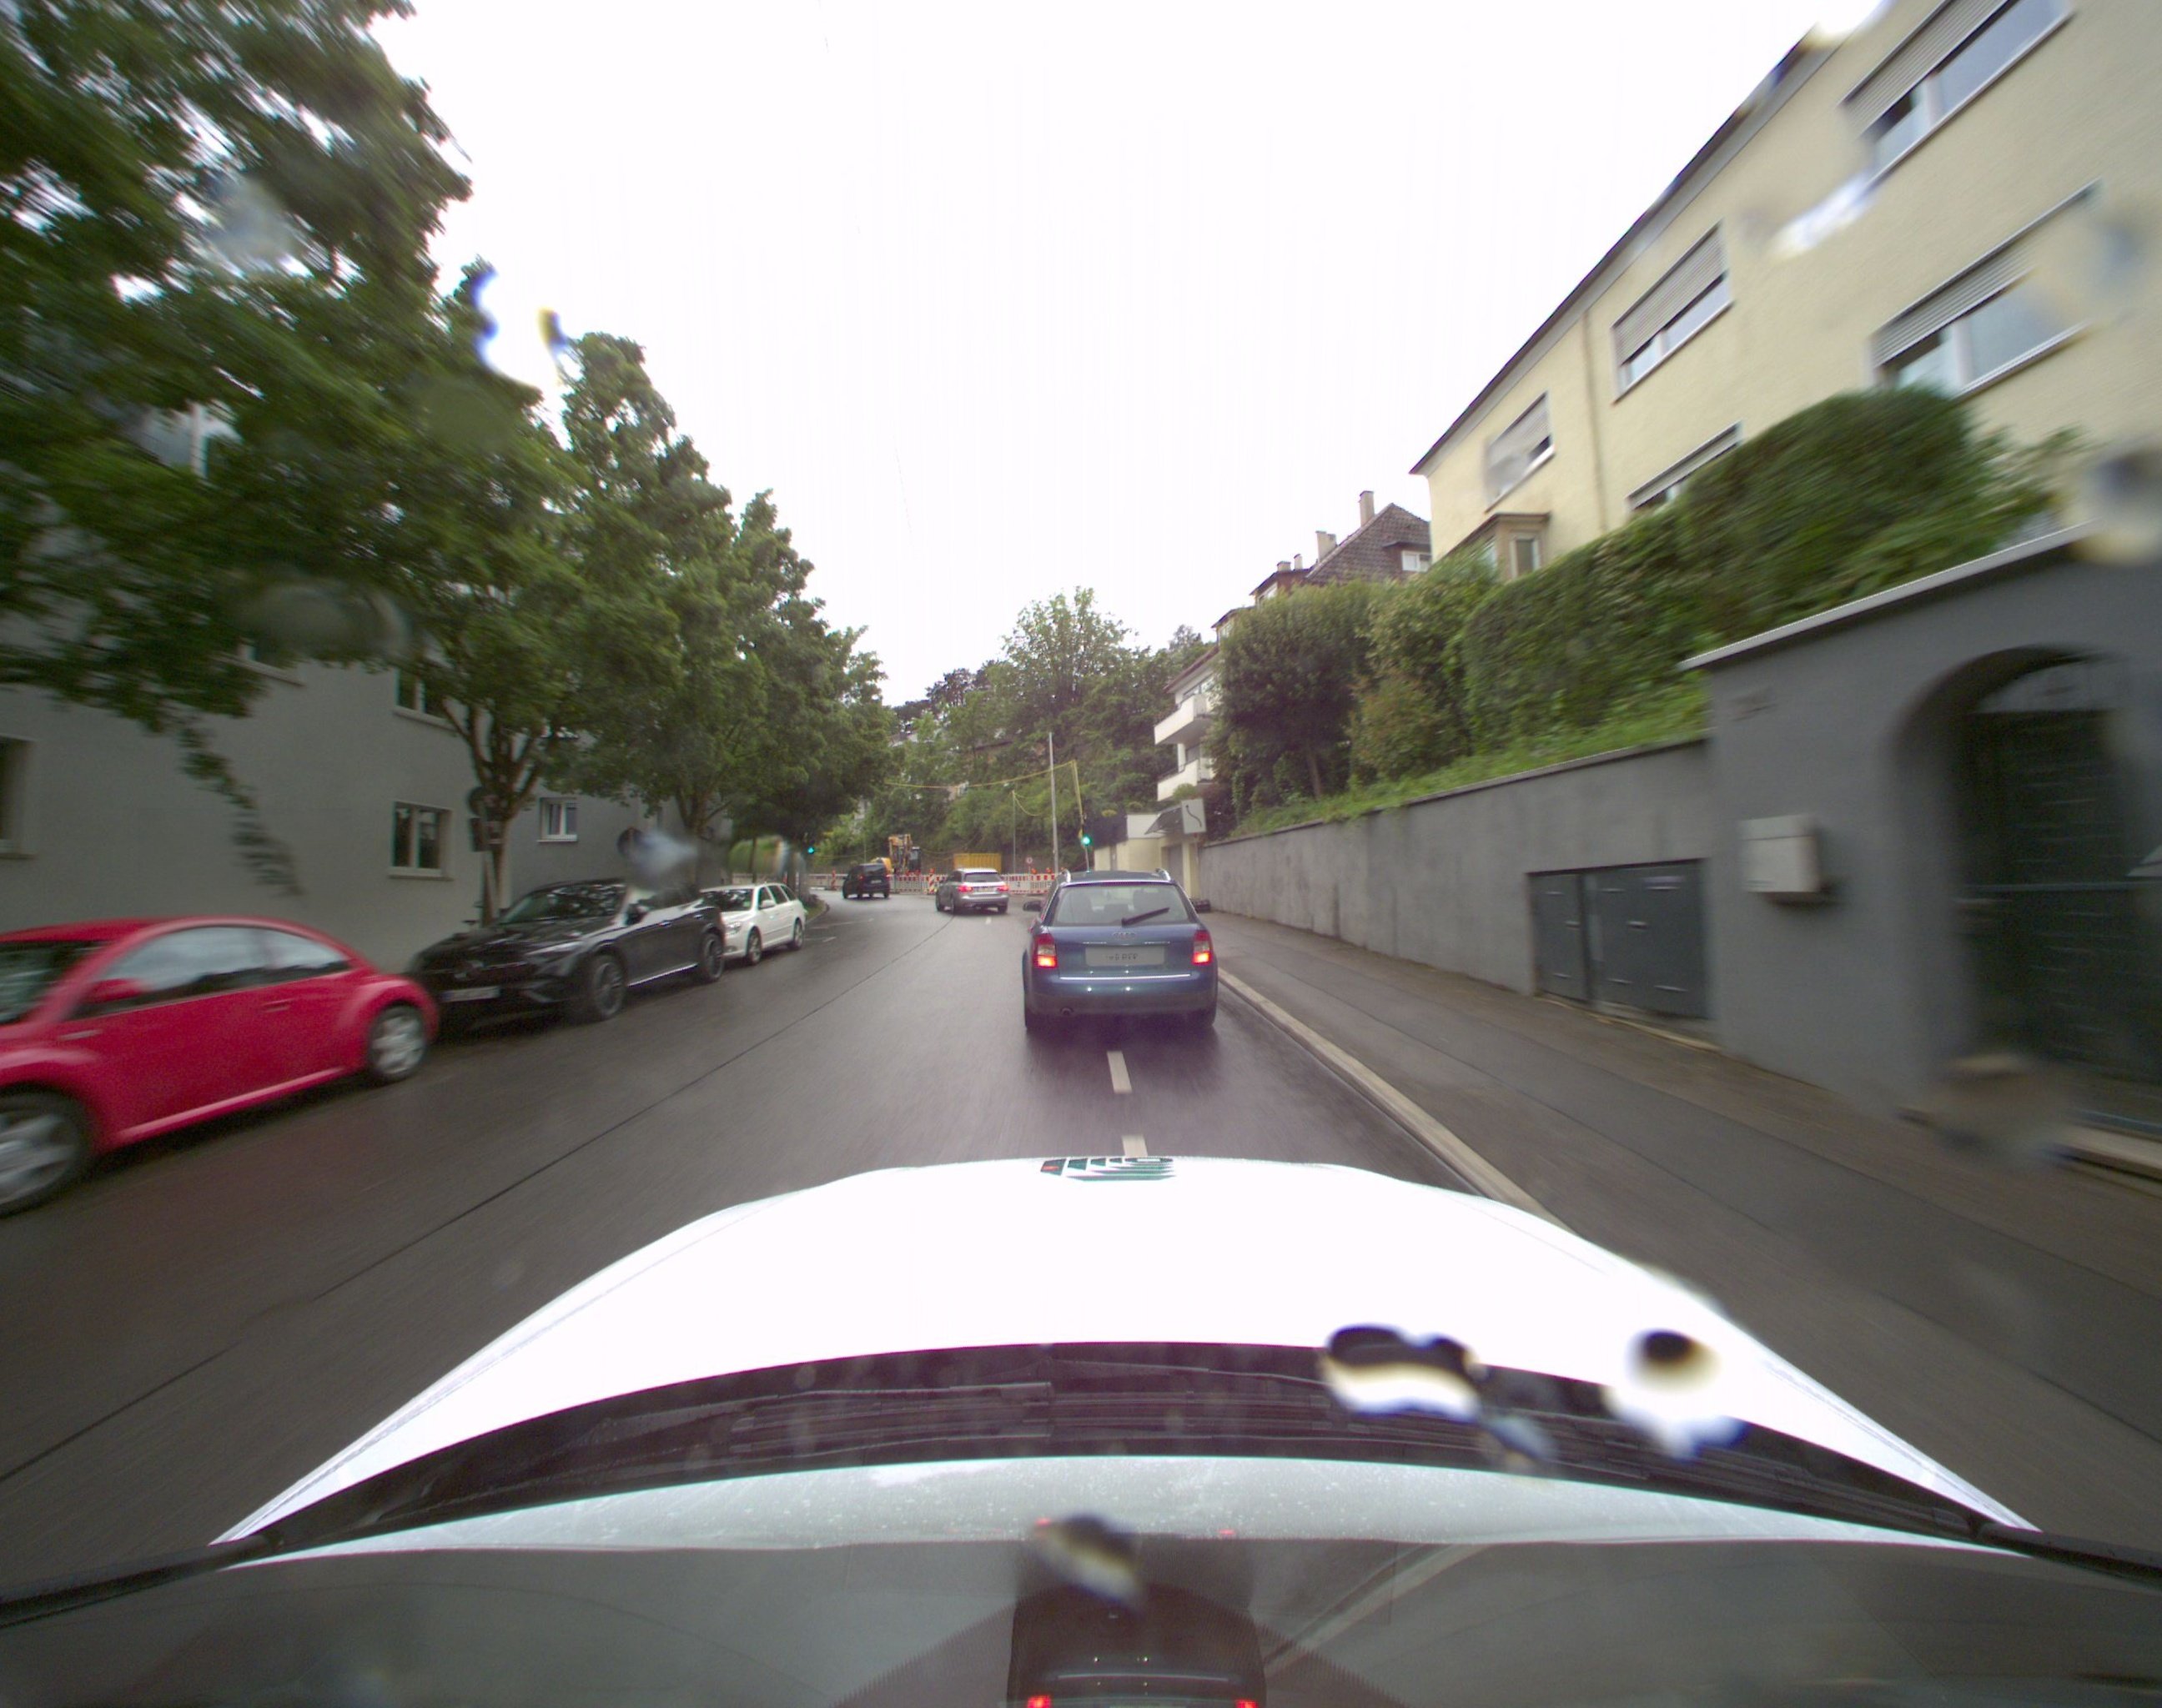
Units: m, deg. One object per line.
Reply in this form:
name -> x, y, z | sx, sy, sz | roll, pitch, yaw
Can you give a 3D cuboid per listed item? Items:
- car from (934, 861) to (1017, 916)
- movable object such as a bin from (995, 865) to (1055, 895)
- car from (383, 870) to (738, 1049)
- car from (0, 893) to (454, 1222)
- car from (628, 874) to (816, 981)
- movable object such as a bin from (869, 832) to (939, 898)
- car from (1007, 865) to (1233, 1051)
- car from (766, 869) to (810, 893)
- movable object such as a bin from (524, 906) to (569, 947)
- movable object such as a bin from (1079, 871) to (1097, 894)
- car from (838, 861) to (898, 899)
car -> -3.608, 1.070, 27.210 | 1.932, 1.618, 4.293 | -2, 0, -19
movable object such as a bin -> -3.082, 1.380, 44.252 | 2.003, 1.519, 3.967 | -1, 0, -25
car -> -6.189, 1.099, 10.475 | 1.678, 1.608, 4.572 | -4, 0, -3
car -> -6.262, 1.144, 5.196 | 1.630, 1.564, 3.842 | -6, -2, -4
car -> -6.594, 1.263, 15.532 | 1.678, 1.508, 4.312 | -5, 0, -2
movable object such as a bin -> -11.732, 0.708, 53.442 | 2.833, 4.014, 7.266 | -2, 0, -25
car -> 0.323, 0.854, 8.481 | 1.780, 1.442, 3.963 | -1, -1, 0
car -> -20.135, 1.864, 55.936 | 1.734, 1.486, 4.031 | -3, -1, -36
movable object such as a bin -> -13.442, 1.823, 20.480 | 0.652, 0.951, 0.645 | -2, -1, 7
movable object such as a bin -> 0.311, 1.280, 36.793 | 0.718, 1.032, 0.590 | -2, -1, -7
car -> -11.408, 1.401, 43.486 | 2.007, 1.794, 3.960 | -3, -1, -31
